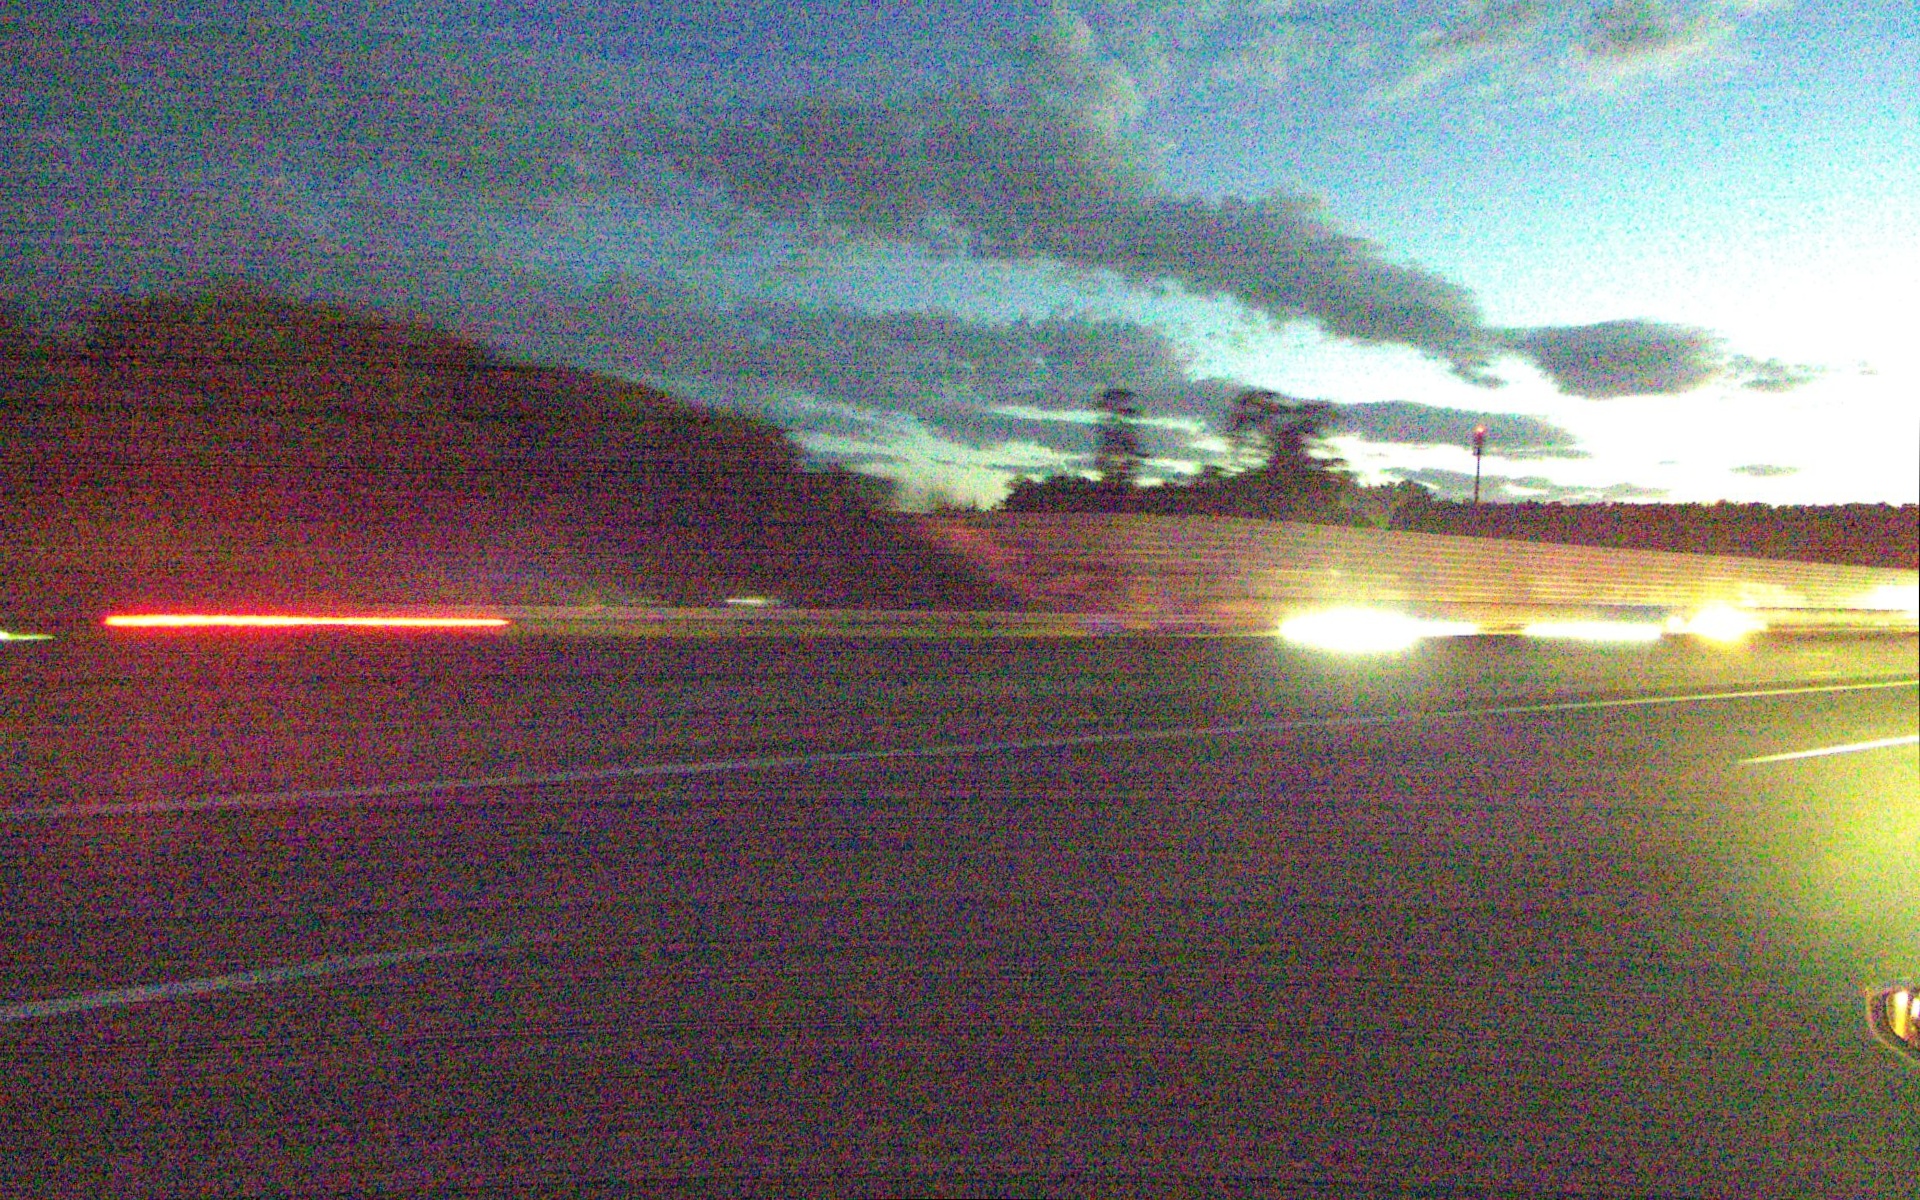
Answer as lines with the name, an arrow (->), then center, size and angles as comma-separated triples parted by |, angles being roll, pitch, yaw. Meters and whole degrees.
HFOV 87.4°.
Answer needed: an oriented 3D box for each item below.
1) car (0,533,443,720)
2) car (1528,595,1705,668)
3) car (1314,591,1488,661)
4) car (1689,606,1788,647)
car -> -8.384, 0.297, 11.505 | 4.268, 1.813, 2.095 | 2, 0, -30
car -> 18.007, 0.823, 27.521 | 4.811, 1.813, 2.095 | 1, 1, -30
car -> 12.598, 0.713, 28.645 | 4.811, 1.813, 2.095 | 1, 1, -30
car -> 37.758, 1.277, 48.682 | 4.811, 1.813, 2.095 | 2, 0, -30
